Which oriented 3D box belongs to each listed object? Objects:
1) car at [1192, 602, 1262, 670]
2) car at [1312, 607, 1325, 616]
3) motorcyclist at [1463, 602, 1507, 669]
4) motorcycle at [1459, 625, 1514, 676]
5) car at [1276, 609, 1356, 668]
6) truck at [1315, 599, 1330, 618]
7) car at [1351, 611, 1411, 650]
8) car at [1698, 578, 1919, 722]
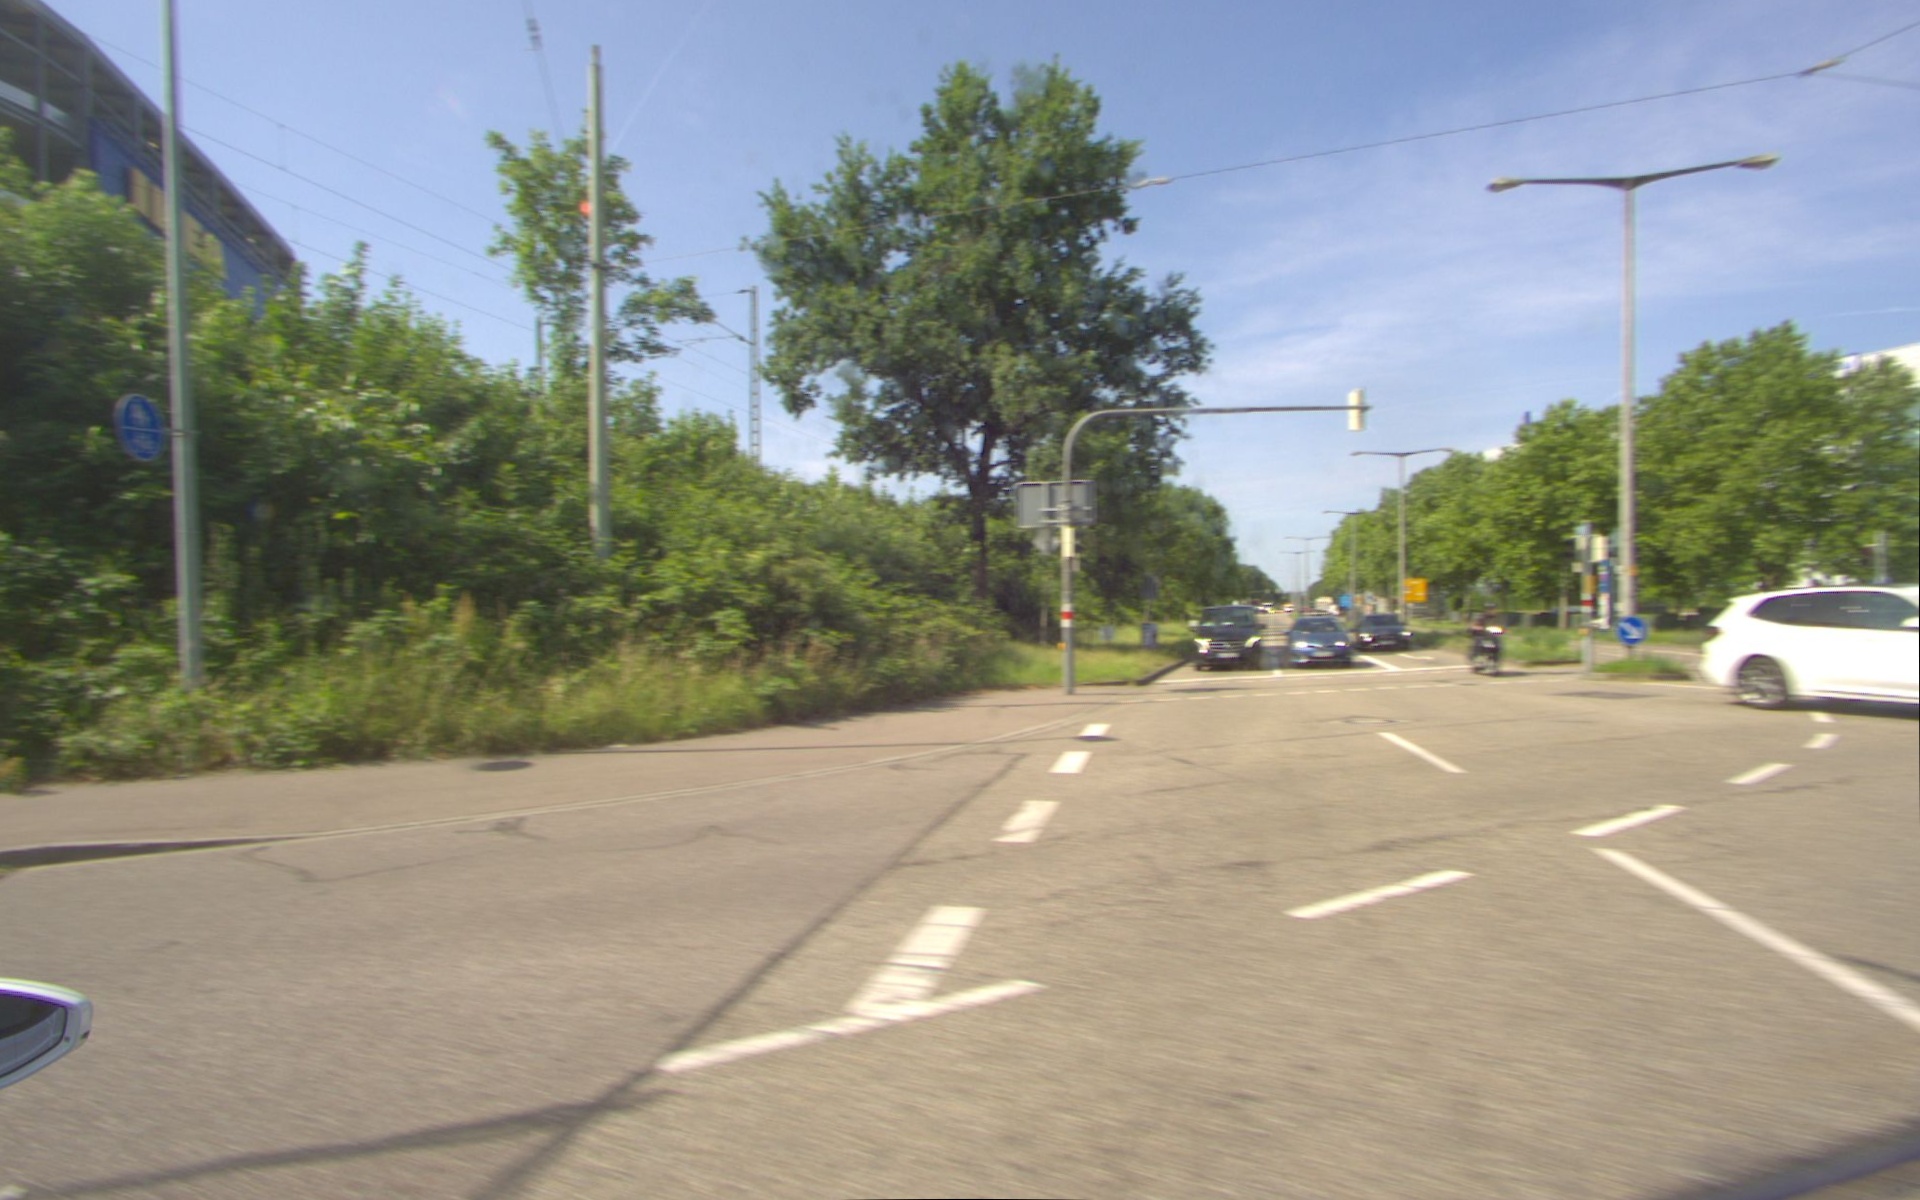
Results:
[{"bbox_3d":[7.794,1.007,29.273,1.821,1.838,3.996,-1,-1,15],"label":"car"},{"bbox_3d":[56.176,1.759,156.992,1.723,1.362,4.371,-1,-1,17],"label":"car"},{"bbox_3d":[11.889,0.806,22.695,0.724,1.465,0.871,-1,-1,18],"label":"motorcyclist"},{"bbox_3d":[11.884,1.124,22.654,0.724,1.096,2.041,-1,-1,18],"label":"motorcycle"},{"bbox_3d":[10.182,1.078,28.898,1.821,1.582,3.996,-1,-1,15],"label":"car"},{"bbox_3d":[71.528,1.704,197.627,2.801,3.624,8.702,-1,-1,20],"label":"truck"},{"bbox_3d":[16.576,1.185,39.594,1.689,1.396,4.466,-2,-1,17],"label":"car"},{"bbox_3d":[12.232,0.594,12.543,1.882,1.711,4.619,-1,-1,-17],"label":"car"}]
